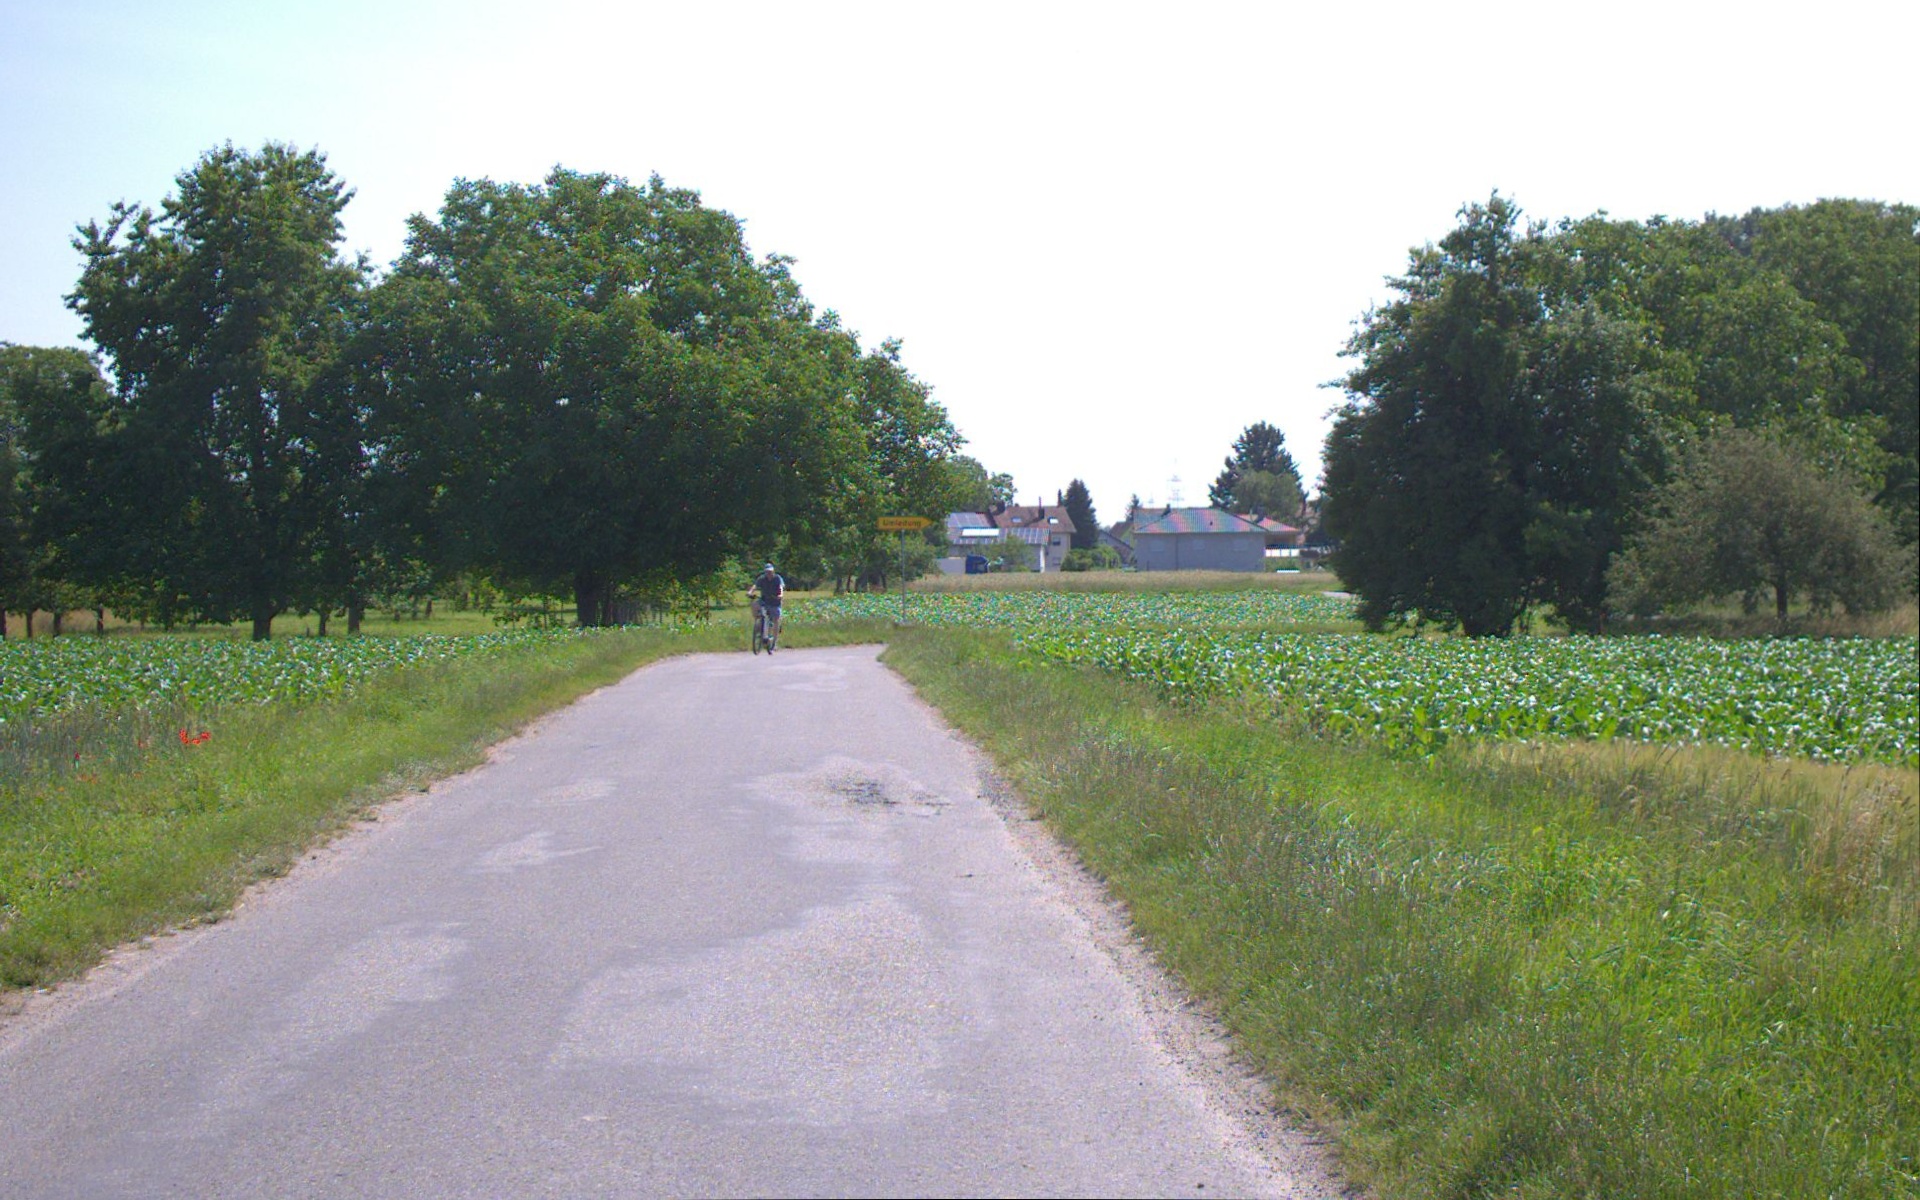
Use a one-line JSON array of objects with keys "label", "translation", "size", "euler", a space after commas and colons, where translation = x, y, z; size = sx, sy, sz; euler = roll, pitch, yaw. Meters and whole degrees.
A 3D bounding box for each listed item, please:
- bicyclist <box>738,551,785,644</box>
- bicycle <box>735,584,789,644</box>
[{"label": "bicyclist", "translation": [-3.918, -0.054, 68.000], "size": [0.750, 1.785, 0.717], "euler": [-2, 0, 5]}, {"label": "bicycle", "translation": [-3.910, 0.269, 67.998], "size": [0.750, 1.123, 1.908], "euler": [-2, 0, 5]}]
